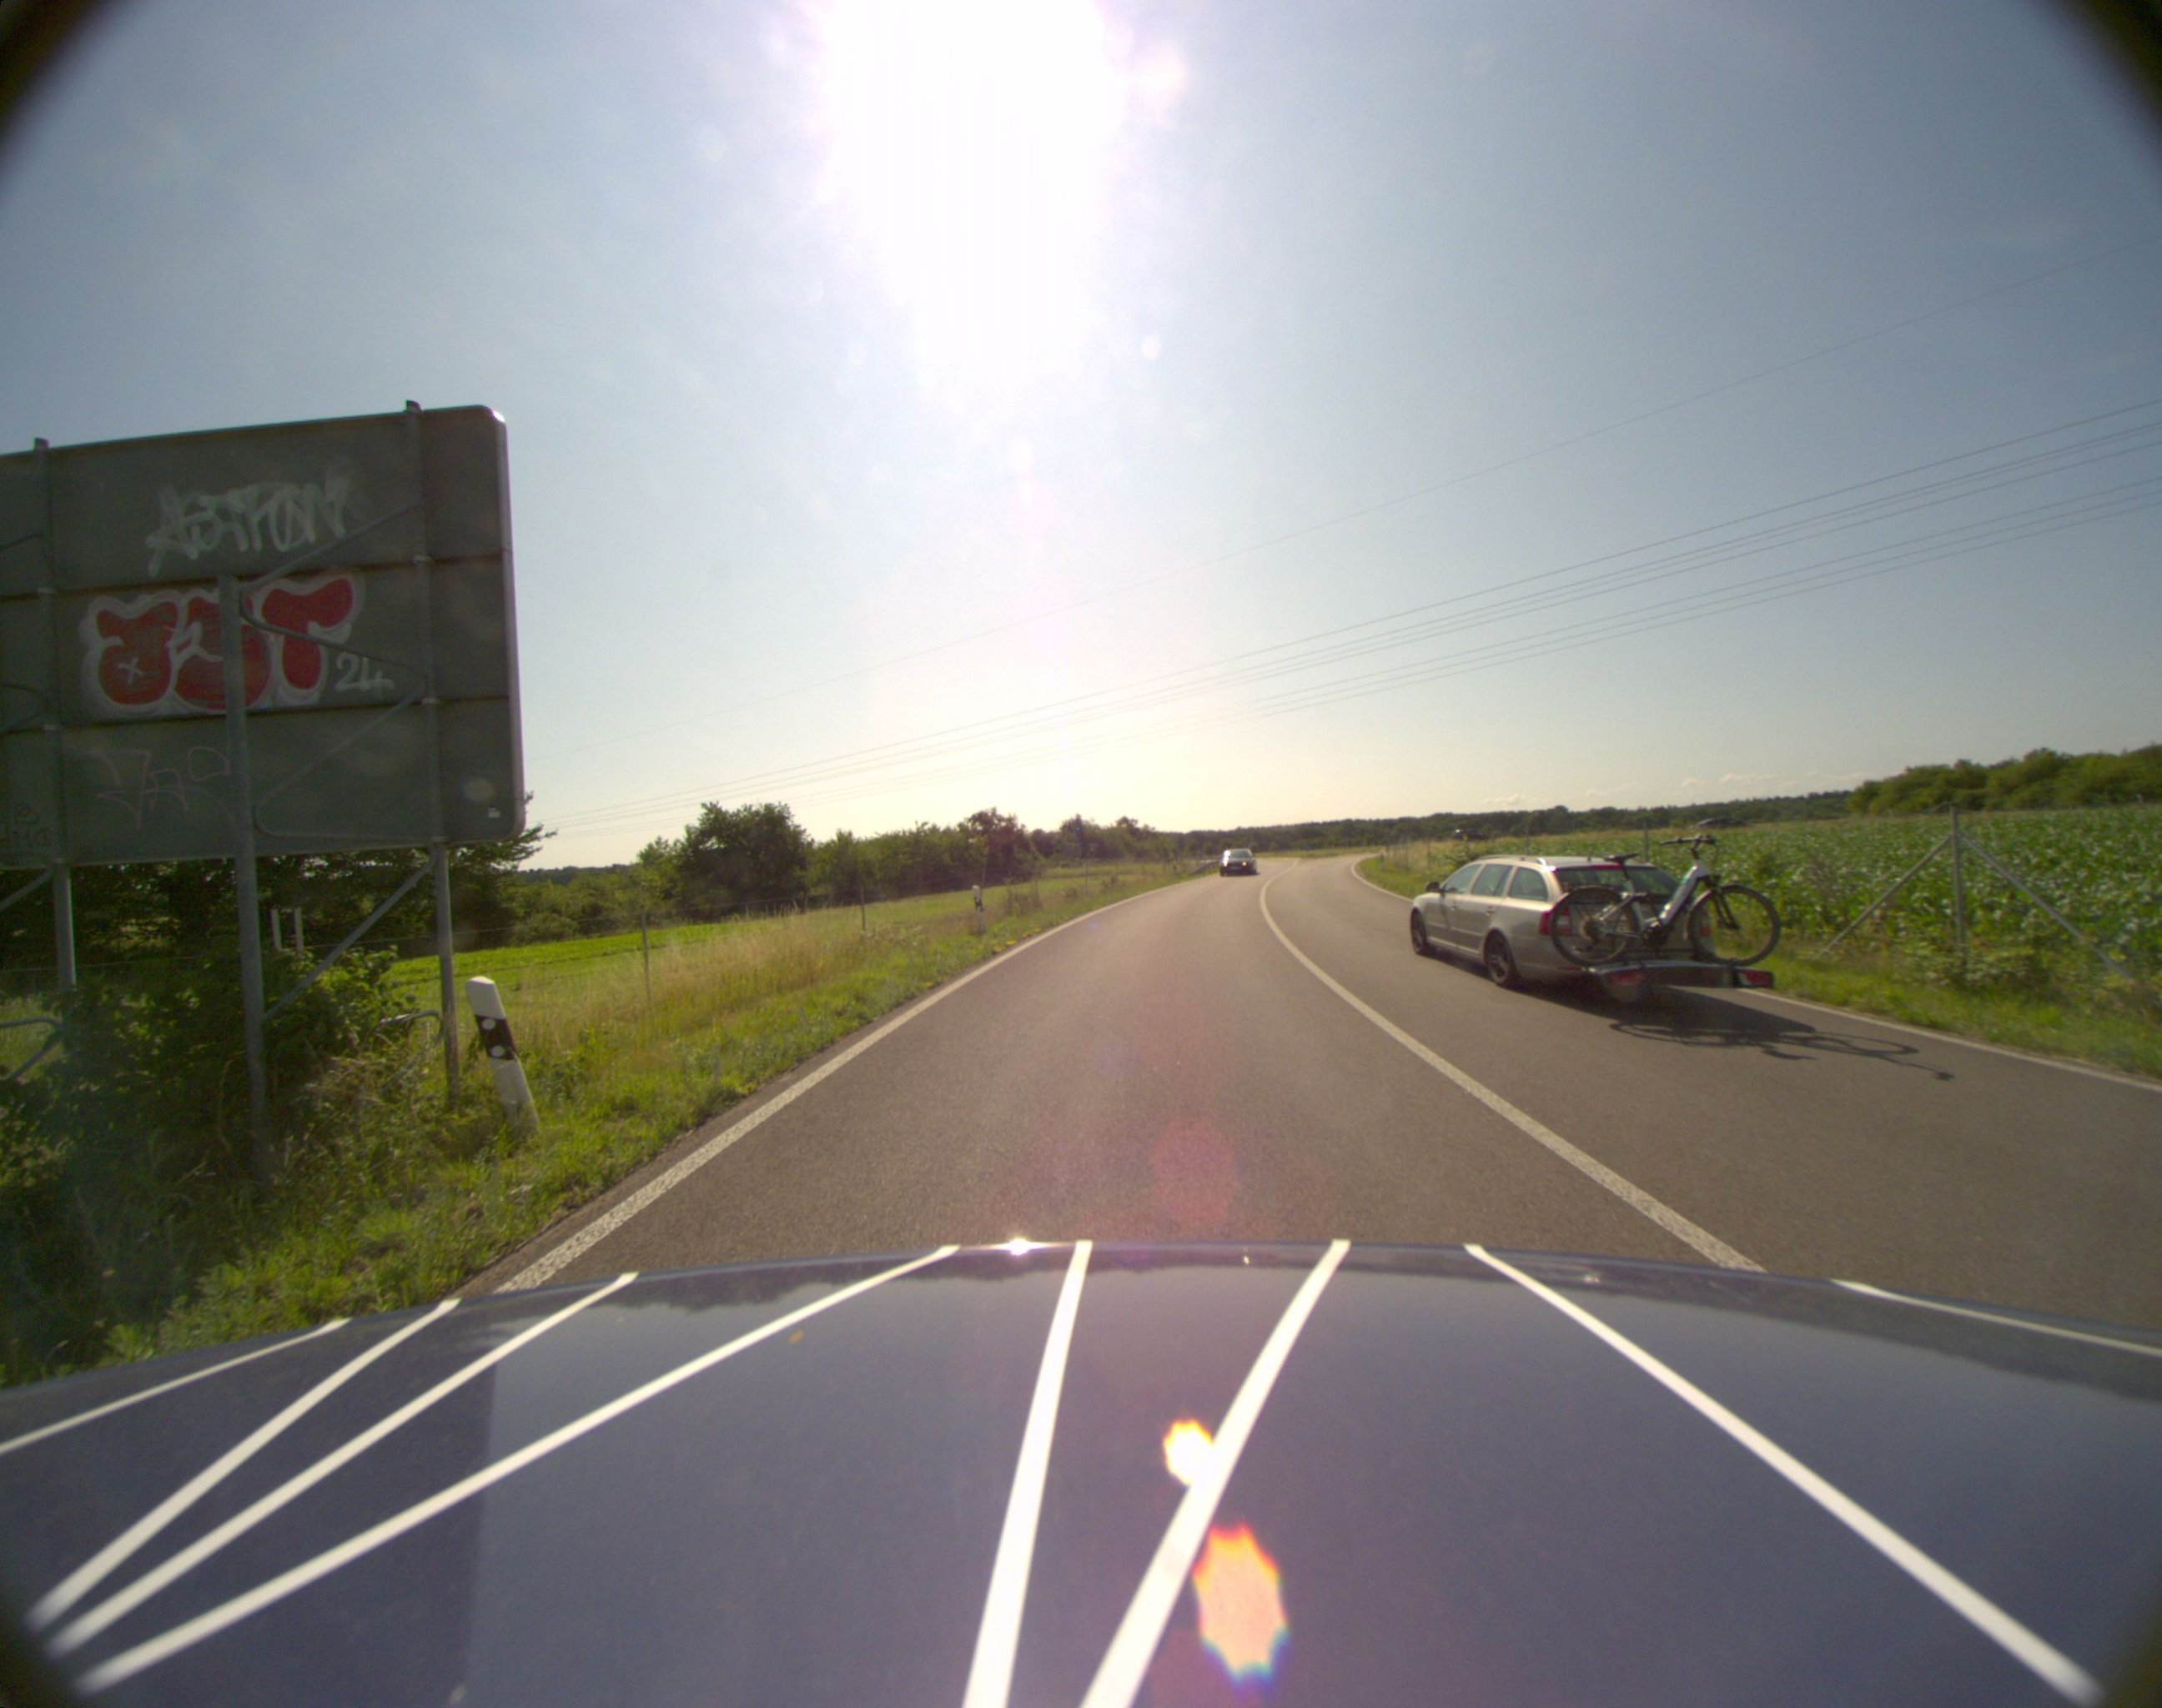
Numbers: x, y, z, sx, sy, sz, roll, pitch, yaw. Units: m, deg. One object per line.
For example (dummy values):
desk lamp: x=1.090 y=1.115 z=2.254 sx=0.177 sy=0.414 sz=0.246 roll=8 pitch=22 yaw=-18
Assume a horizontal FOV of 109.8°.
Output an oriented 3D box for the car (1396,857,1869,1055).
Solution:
car: x=5.383 y=0.810 z=8.543 sx=1.870 sy=1.472 sz=5.137 roll=1 pitch=0 yaw=4

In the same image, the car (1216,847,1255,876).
car: x=8.555 y=0.381 z=41.749 sx=1.884 sy=1.448 sz=4.080 roll=-2 pitch=0 yaw=14

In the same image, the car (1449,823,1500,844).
car: x=35.708 y=-1.890 z=68.887 sx=4.267 sy=1.697 sz=1.985 roll=-4 pitch=2 yaw=-28

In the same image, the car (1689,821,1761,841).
car: x=57.804 y=-2.052 z=68.271 sx=4.584 sy=1.448 sz=1.783 roll=-4 pitch=0 yaw=16
